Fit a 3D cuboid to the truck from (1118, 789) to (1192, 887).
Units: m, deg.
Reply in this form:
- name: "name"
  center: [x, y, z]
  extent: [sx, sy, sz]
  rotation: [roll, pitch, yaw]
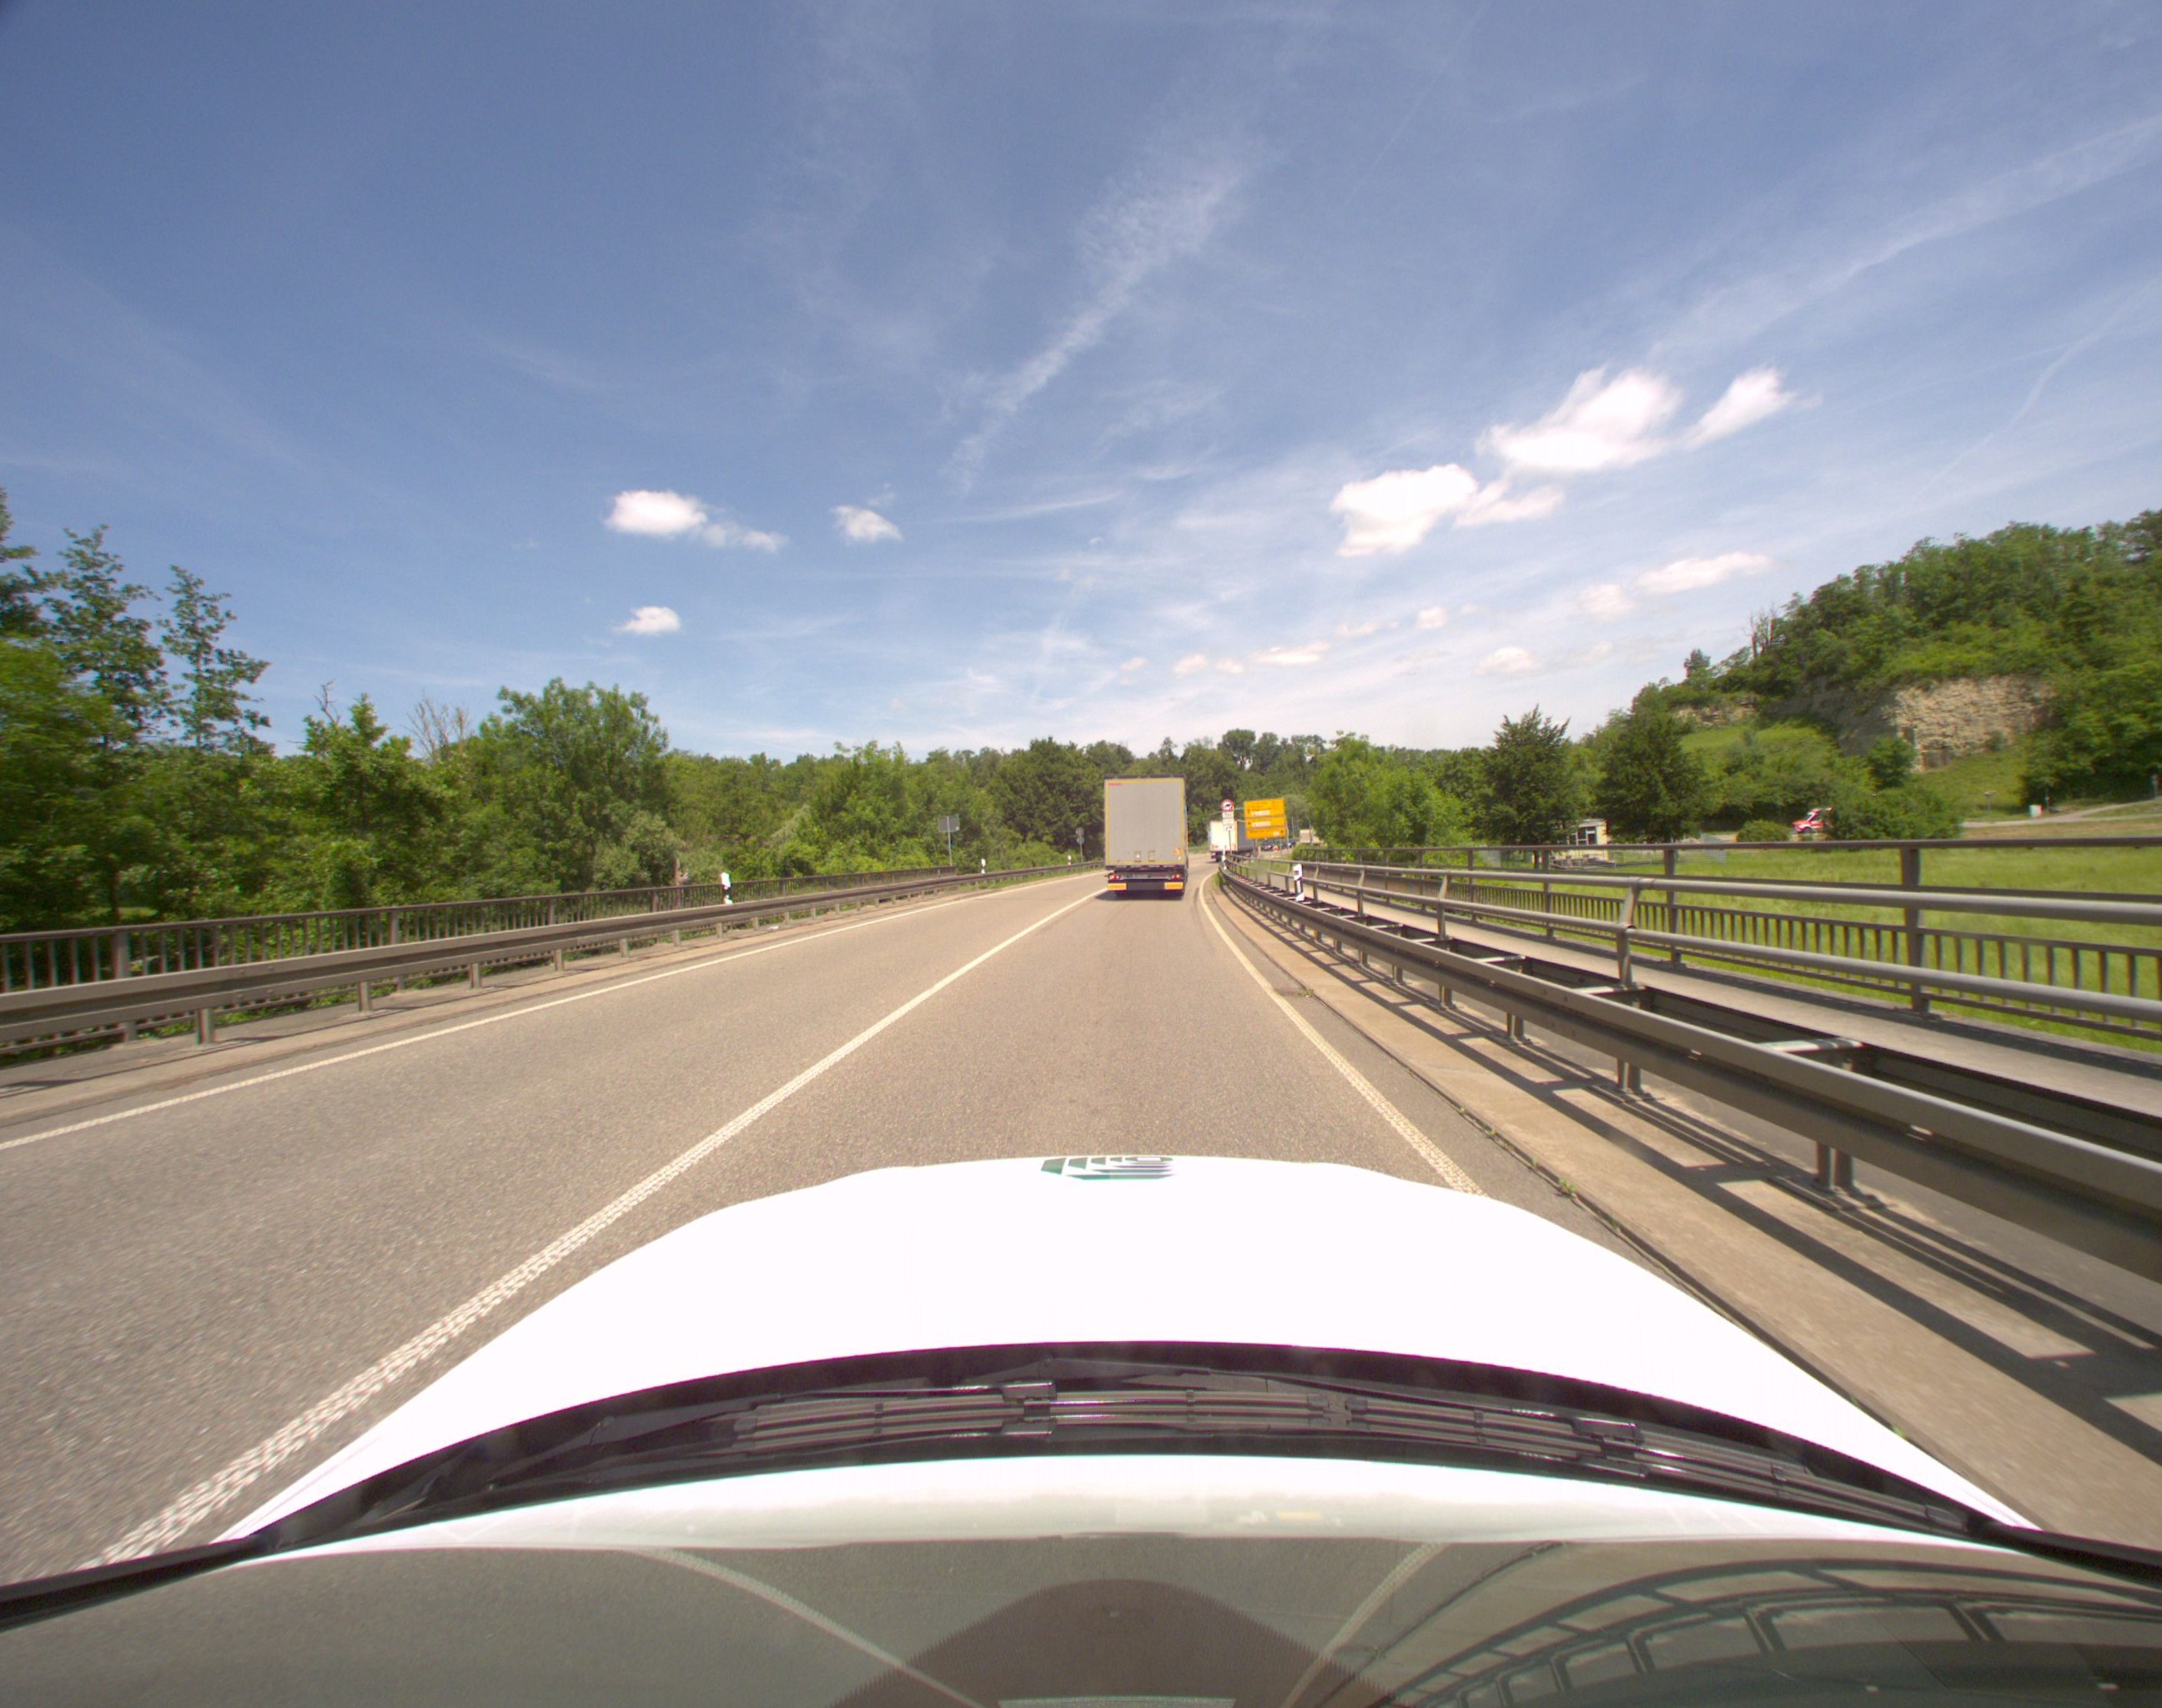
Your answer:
- name: "truck"
  center: [3.555, -0.675, 37.689]
  extent: [3.021, 4.034, 6.643]
  rotation: [-2, 0, 7]

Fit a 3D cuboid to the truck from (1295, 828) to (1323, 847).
- name: "truck"
  center: [37.589, -2.771, 134.032]
  extent: [2.828, 2.947, 7.149]
  rotation: [-1, 1, 28]

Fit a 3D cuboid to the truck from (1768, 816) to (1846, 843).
- name: "truck"
  center: [80.133, -2.678, 90.026]
  extent: [5.954, 2.728, 2.517]
  rotation: [-1, -1, 28]

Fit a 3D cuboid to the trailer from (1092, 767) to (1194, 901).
- name: "trailer"
  center: [2.719, -0.636, 31.378]
  extent: [3.035, 4.033, 12.585]
  rotation: [-2, 0, 7]

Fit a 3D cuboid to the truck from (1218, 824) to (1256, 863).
- name: "truck"
  center: [16.682, -1.086, 86.843]
  extent: [3.144, 4.004, 5.841]
  rotation: [-1, 0, 17]

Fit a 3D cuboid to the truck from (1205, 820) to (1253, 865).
- name: "truck"
  center: [14.971, -1.085, 81.498]
  extent: [3.154, 4.029, 11.798]
  rotation: [-2, 0, 17]

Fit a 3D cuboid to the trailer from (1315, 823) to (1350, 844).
- name: "trailer"
  center: [46.407, -3.863, 150.092]
  extent: [3.220, 3.685, 9.311]
  rotation: [-1, 1, 35]
